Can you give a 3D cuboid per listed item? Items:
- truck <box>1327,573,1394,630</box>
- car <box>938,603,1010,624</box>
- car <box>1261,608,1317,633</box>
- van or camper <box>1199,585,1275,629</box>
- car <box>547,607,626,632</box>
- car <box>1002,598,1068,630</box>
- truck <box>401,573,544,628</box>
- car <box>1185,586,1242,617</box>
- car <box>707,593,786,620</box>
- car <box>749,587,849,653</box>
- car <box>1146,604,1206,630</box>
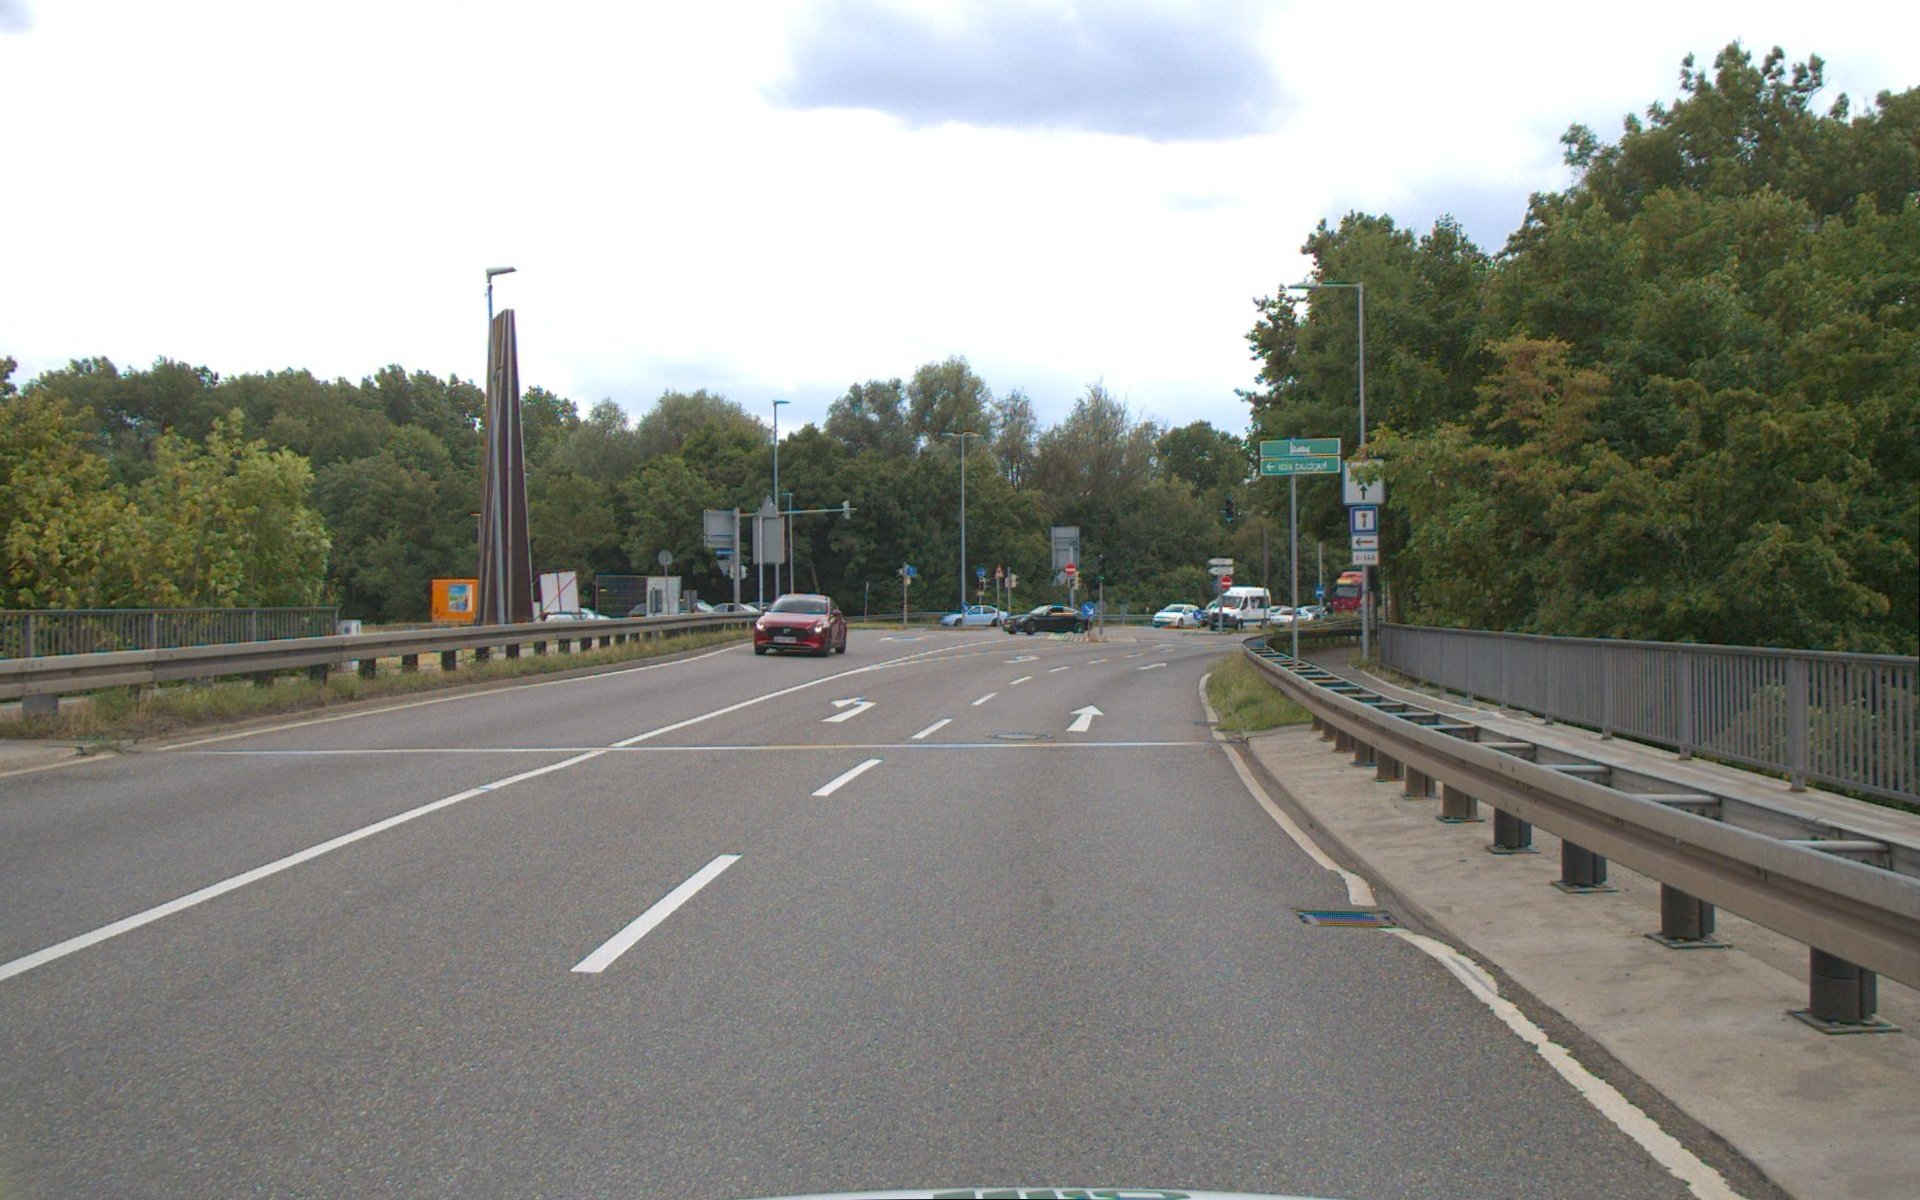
[{"bbox_3d":[30.281,0.118,124.872,2.531,4.155,5.588,1,0,42],"label":"truck"},{"bbox_3d":[0.894,0.871,104.216,4.146,1.226,1.989,1,0,-19],"label":"car"},{"bbox_3d":[21.689,1.349,108.851,1.960,1.524,4.383,1,0,36],"label":"car"},{"bbox_3d":[17.343,0.478,103.211,2.123,2.634,6.473,1,0,35],"label":"van or camper"},{"bbox_3d":[-21.403,1.094,94.786,4.246,1.333,1.995,1,0,32],"label":"car"},{"bbox_3d":[3.606,0.664,79.015,1.952,1.481,4.655,1,0,18],"label":"car"},{"bbox_3d":[-29.633,-0.003,100.372,9.077,3.190,2.965,1,0,31],"label":"truck"},{"bbox_3d":[16.572,0.088,107.904,1.961,1.935,4.148,1,0,37],"label":"car"},{"bbox_3d":[-11.214,0.353,86.967,3.726,1.333,1.995,1,0,32],"label":"car"},{"bbox_3d":[-3.873,0.466,40.531,1.758,1.498,4.637,1,0,3],"label":"car"},{"bbox_3d":[13.517,1.048,103.393,1.958,1.574,4.525,1,0,33],"label":"car"}]
